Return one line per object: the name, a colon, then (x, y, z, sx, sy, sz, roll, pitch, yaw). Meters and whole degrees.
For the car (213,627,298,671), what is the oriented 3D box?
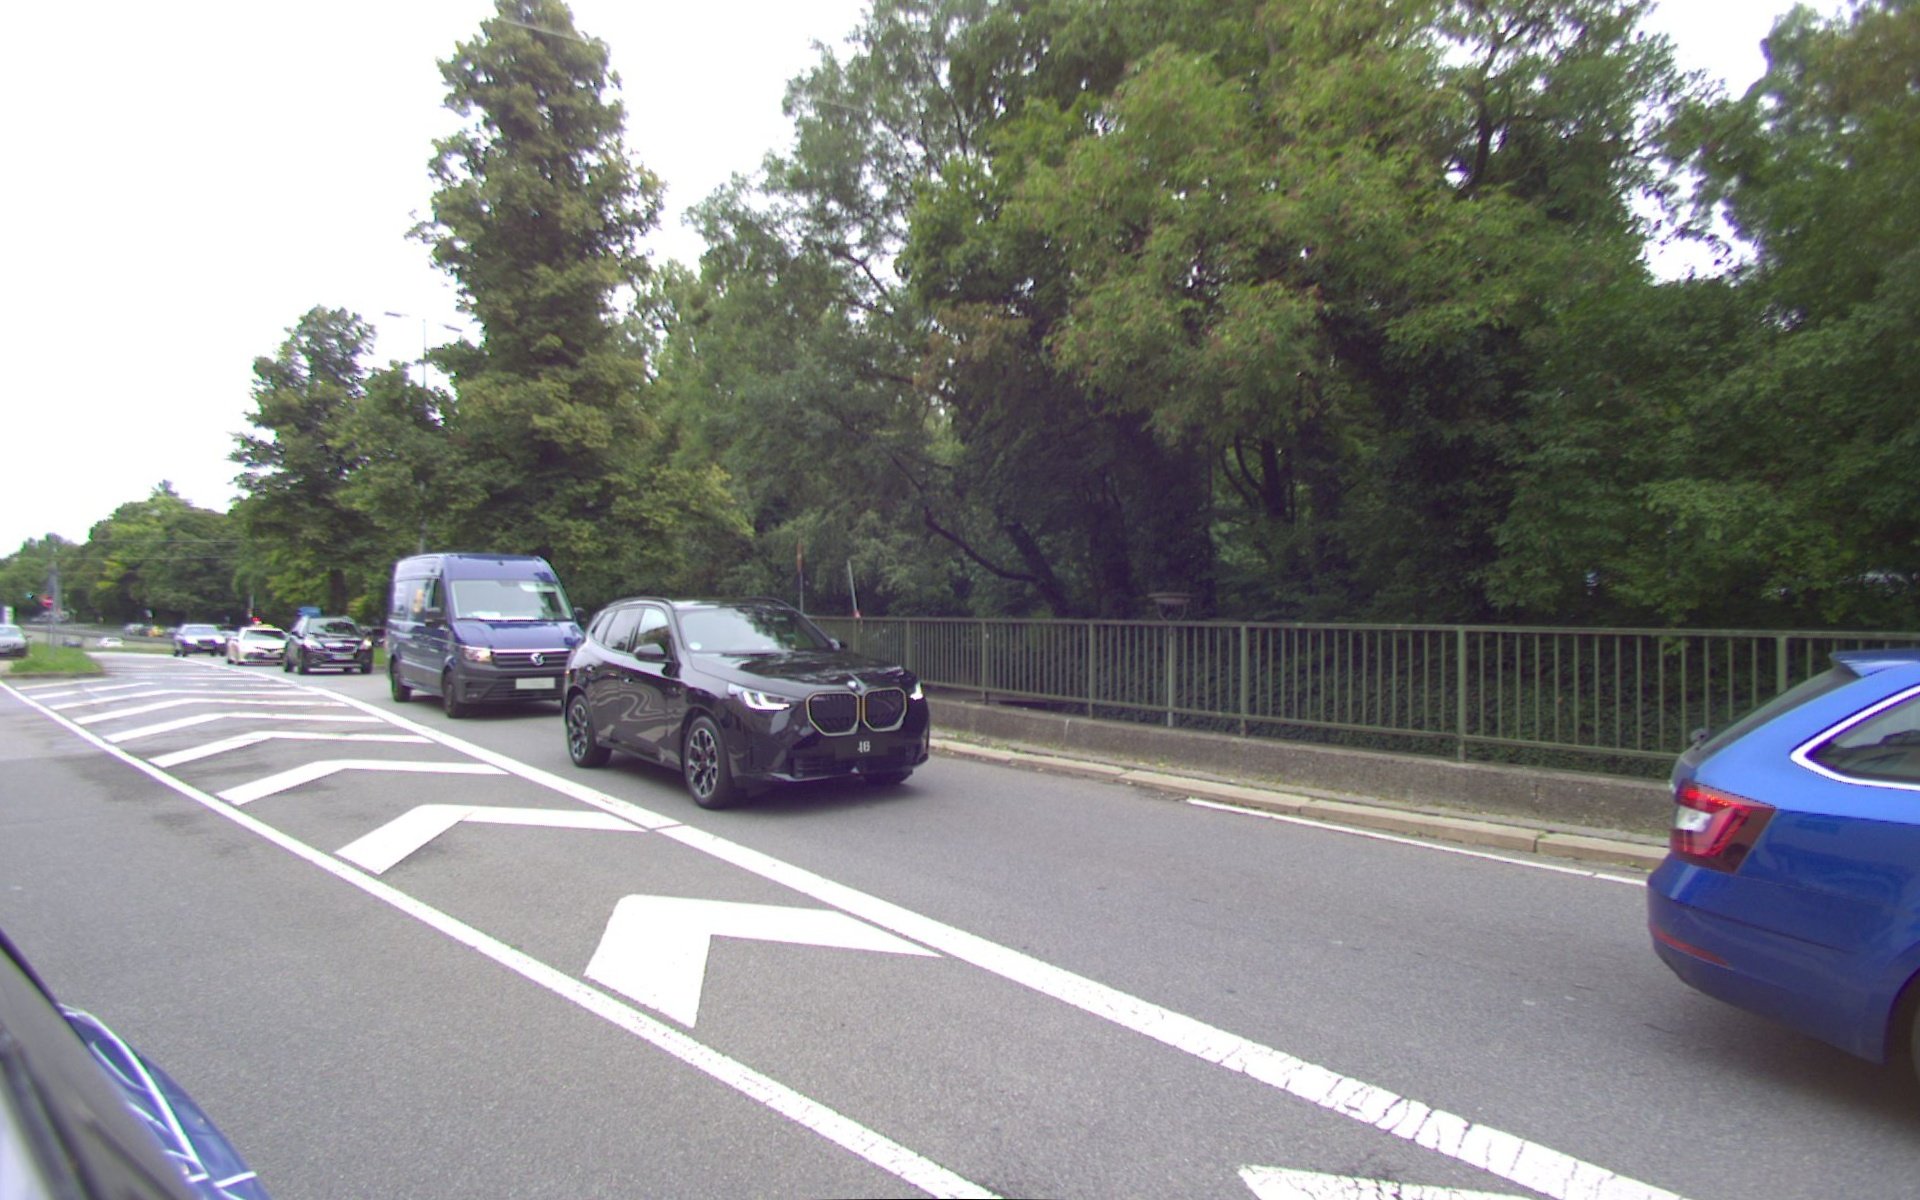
car: (-26.874, 1.818, 38.555, 1.964, 1.577, 4.658, 2, -2, -44)

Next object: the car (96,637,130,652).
car: (-85.673, 4.531, 102.319, 4.231, 1.457, 1.809, -2, -3, 39)

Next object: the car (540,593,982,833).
car: (-2.103, 0.813, 9.286, 1.889, 1.598, 4.838, -1, -1, -40)

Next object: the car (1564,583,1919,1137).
car: (4.279, 0.671, 2.168, 1.962, 1.465, 4.742, 2, -2, -40)

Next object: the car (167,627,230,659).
car: (-39.386, 2.188, 52.320, 4.274, 1.577, 1.965, -2, -3, 44)

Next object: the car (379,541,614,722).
car: (-7.888, 0.475, 16.815, 2.156, 2.482, 5.863, 1, -1, -39)

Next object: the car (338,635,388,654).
car: (-49.893, 3.691, 84.582, 4.699, 1.546, 1.975, -2, -3, 38)

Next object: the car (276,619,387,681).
car: (-18.178, 1.408, 29.179, 1.963, 1.640, 4.278, 2, -2, -42)

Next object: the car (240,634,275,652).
car: (-71.257, 4.358, 102.620, 3.998, 1.759, 1.973, -1, -2, 41)

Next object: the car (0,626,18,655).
car: (-52.724, 2.192, 55.042, 4.284, 1.577, 1.964, -2, -3, 45)

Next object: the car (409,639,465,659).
car: (-39.380, 3.693, 76.150, 4.518, 1.457, 1.975, -2, -3, 37)

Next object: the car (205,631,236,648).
car: (-79.694, 4.198, 109.029, 3.998, 1.759, 1.861, -1, -2, 41)

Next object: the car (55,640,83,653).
car: (-101.389, 5.245, 115.158, 4.030, 1.457, 1.872, -2, -3, 40)

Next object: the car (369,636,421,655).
car: (-44.905, 3.601, 80.405, 4.518, 1.457, 1.975, -2, -3, 37)

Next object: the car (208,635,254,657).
car: (-53.435, 3.348, 74.170, 3.998, 1.570, 1.841, -2, -2, 41)

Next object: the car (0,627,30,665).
car: (-41.612, 1.949, 43.813, 1.876, 1.577, 4.775, 2, -2, -43)
